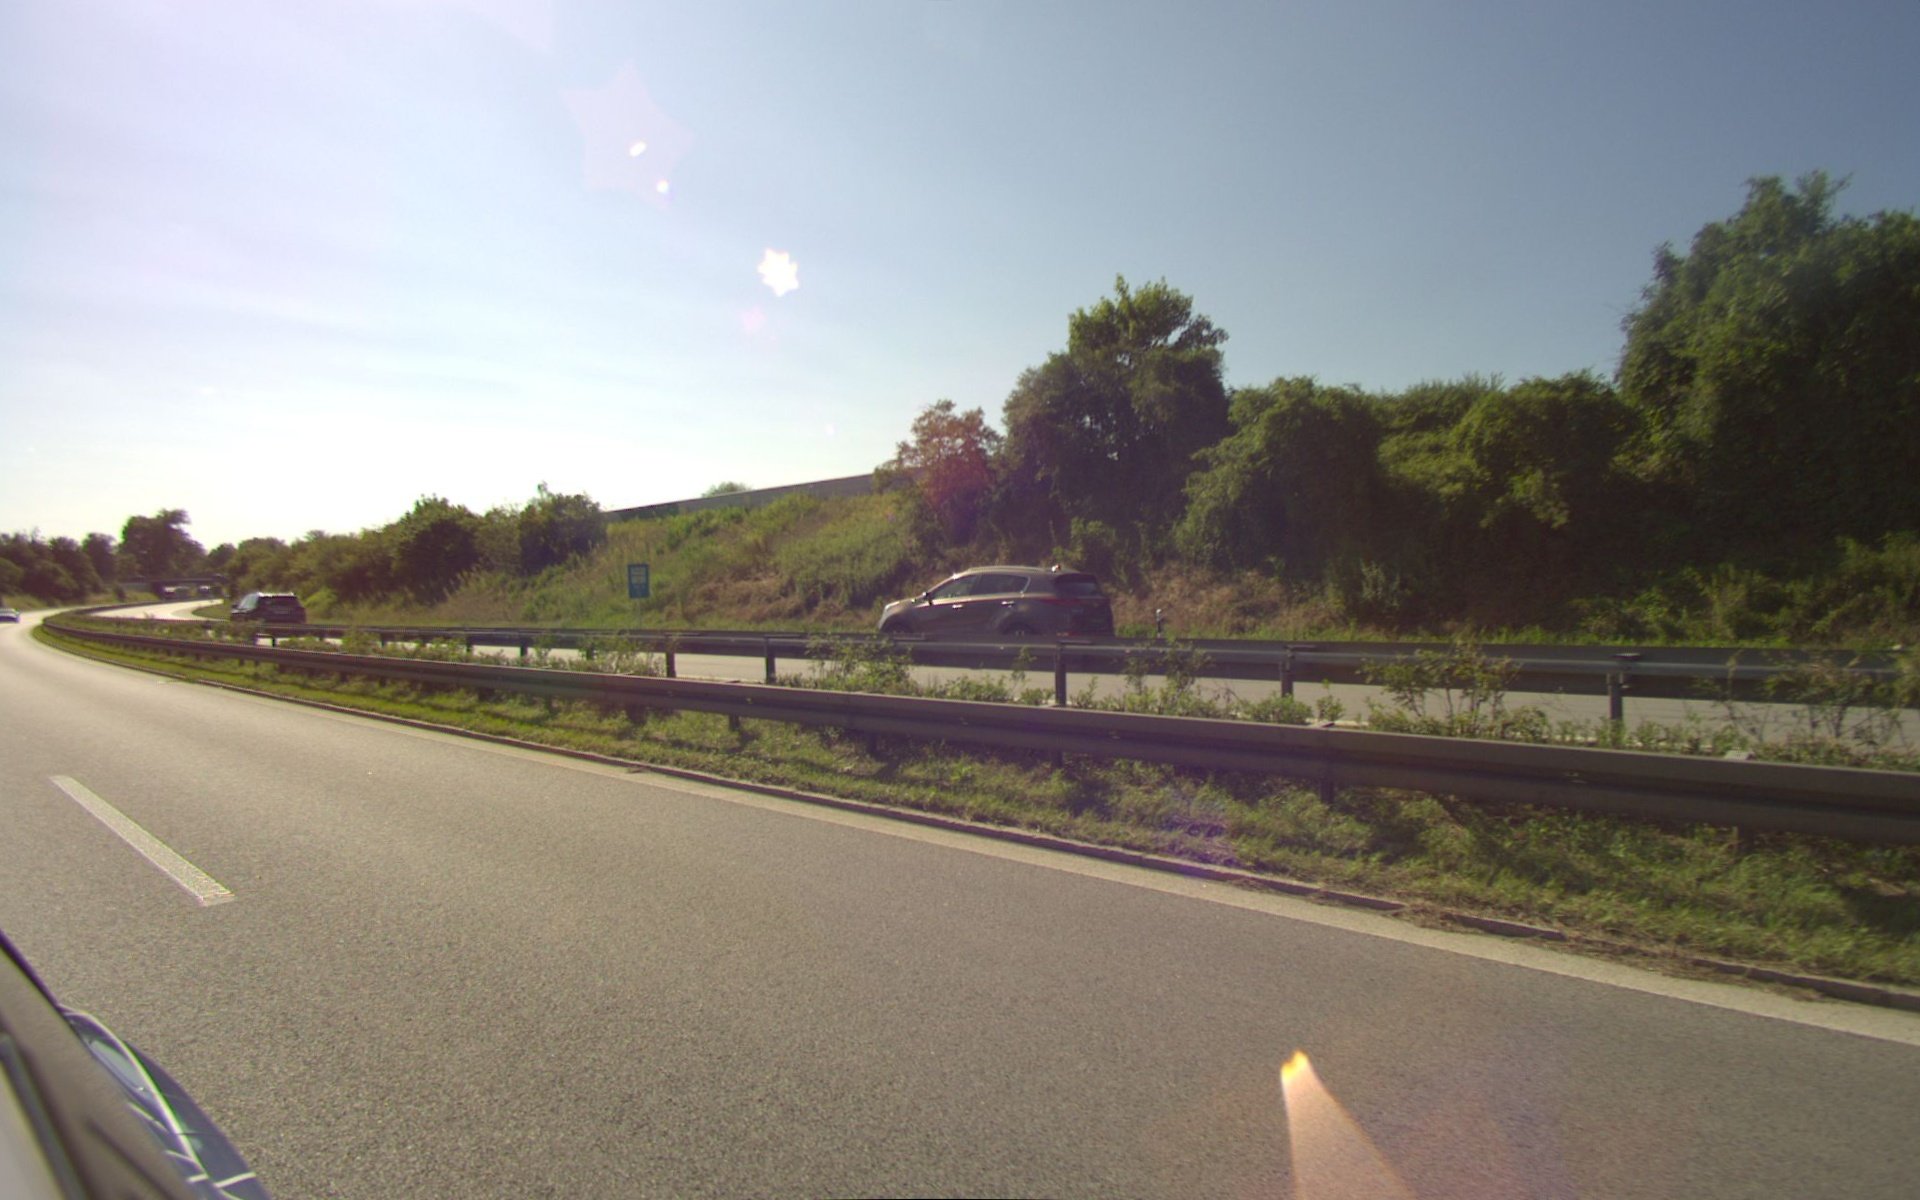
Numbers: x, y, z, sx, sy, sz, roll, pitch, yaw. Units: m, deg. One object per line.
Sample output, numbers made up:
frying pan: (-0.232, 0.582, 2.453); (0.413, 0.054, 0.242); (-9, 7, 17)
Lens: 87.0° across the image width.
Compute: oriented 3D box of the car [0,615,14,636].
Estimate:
car: (-98.031, 2.589, 103.094); (1.969, 2.028, 4.607); (-3, 2, -39)

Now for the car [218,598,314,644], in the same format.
car: (-27.272, 0.815, 39.698); (4.886, 1.692, 2.045); (-1, -2, 42)

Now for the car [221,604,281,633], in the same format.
car: (-39.564, 1.000, 56.408); (4.685, 1.491, 1.799); (-1, 0, 43)

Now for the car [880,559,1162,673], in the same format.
car: (0.933, 0.264, 16.949); (4.430, 1.664, 1.973); (-1, -1, 40)
